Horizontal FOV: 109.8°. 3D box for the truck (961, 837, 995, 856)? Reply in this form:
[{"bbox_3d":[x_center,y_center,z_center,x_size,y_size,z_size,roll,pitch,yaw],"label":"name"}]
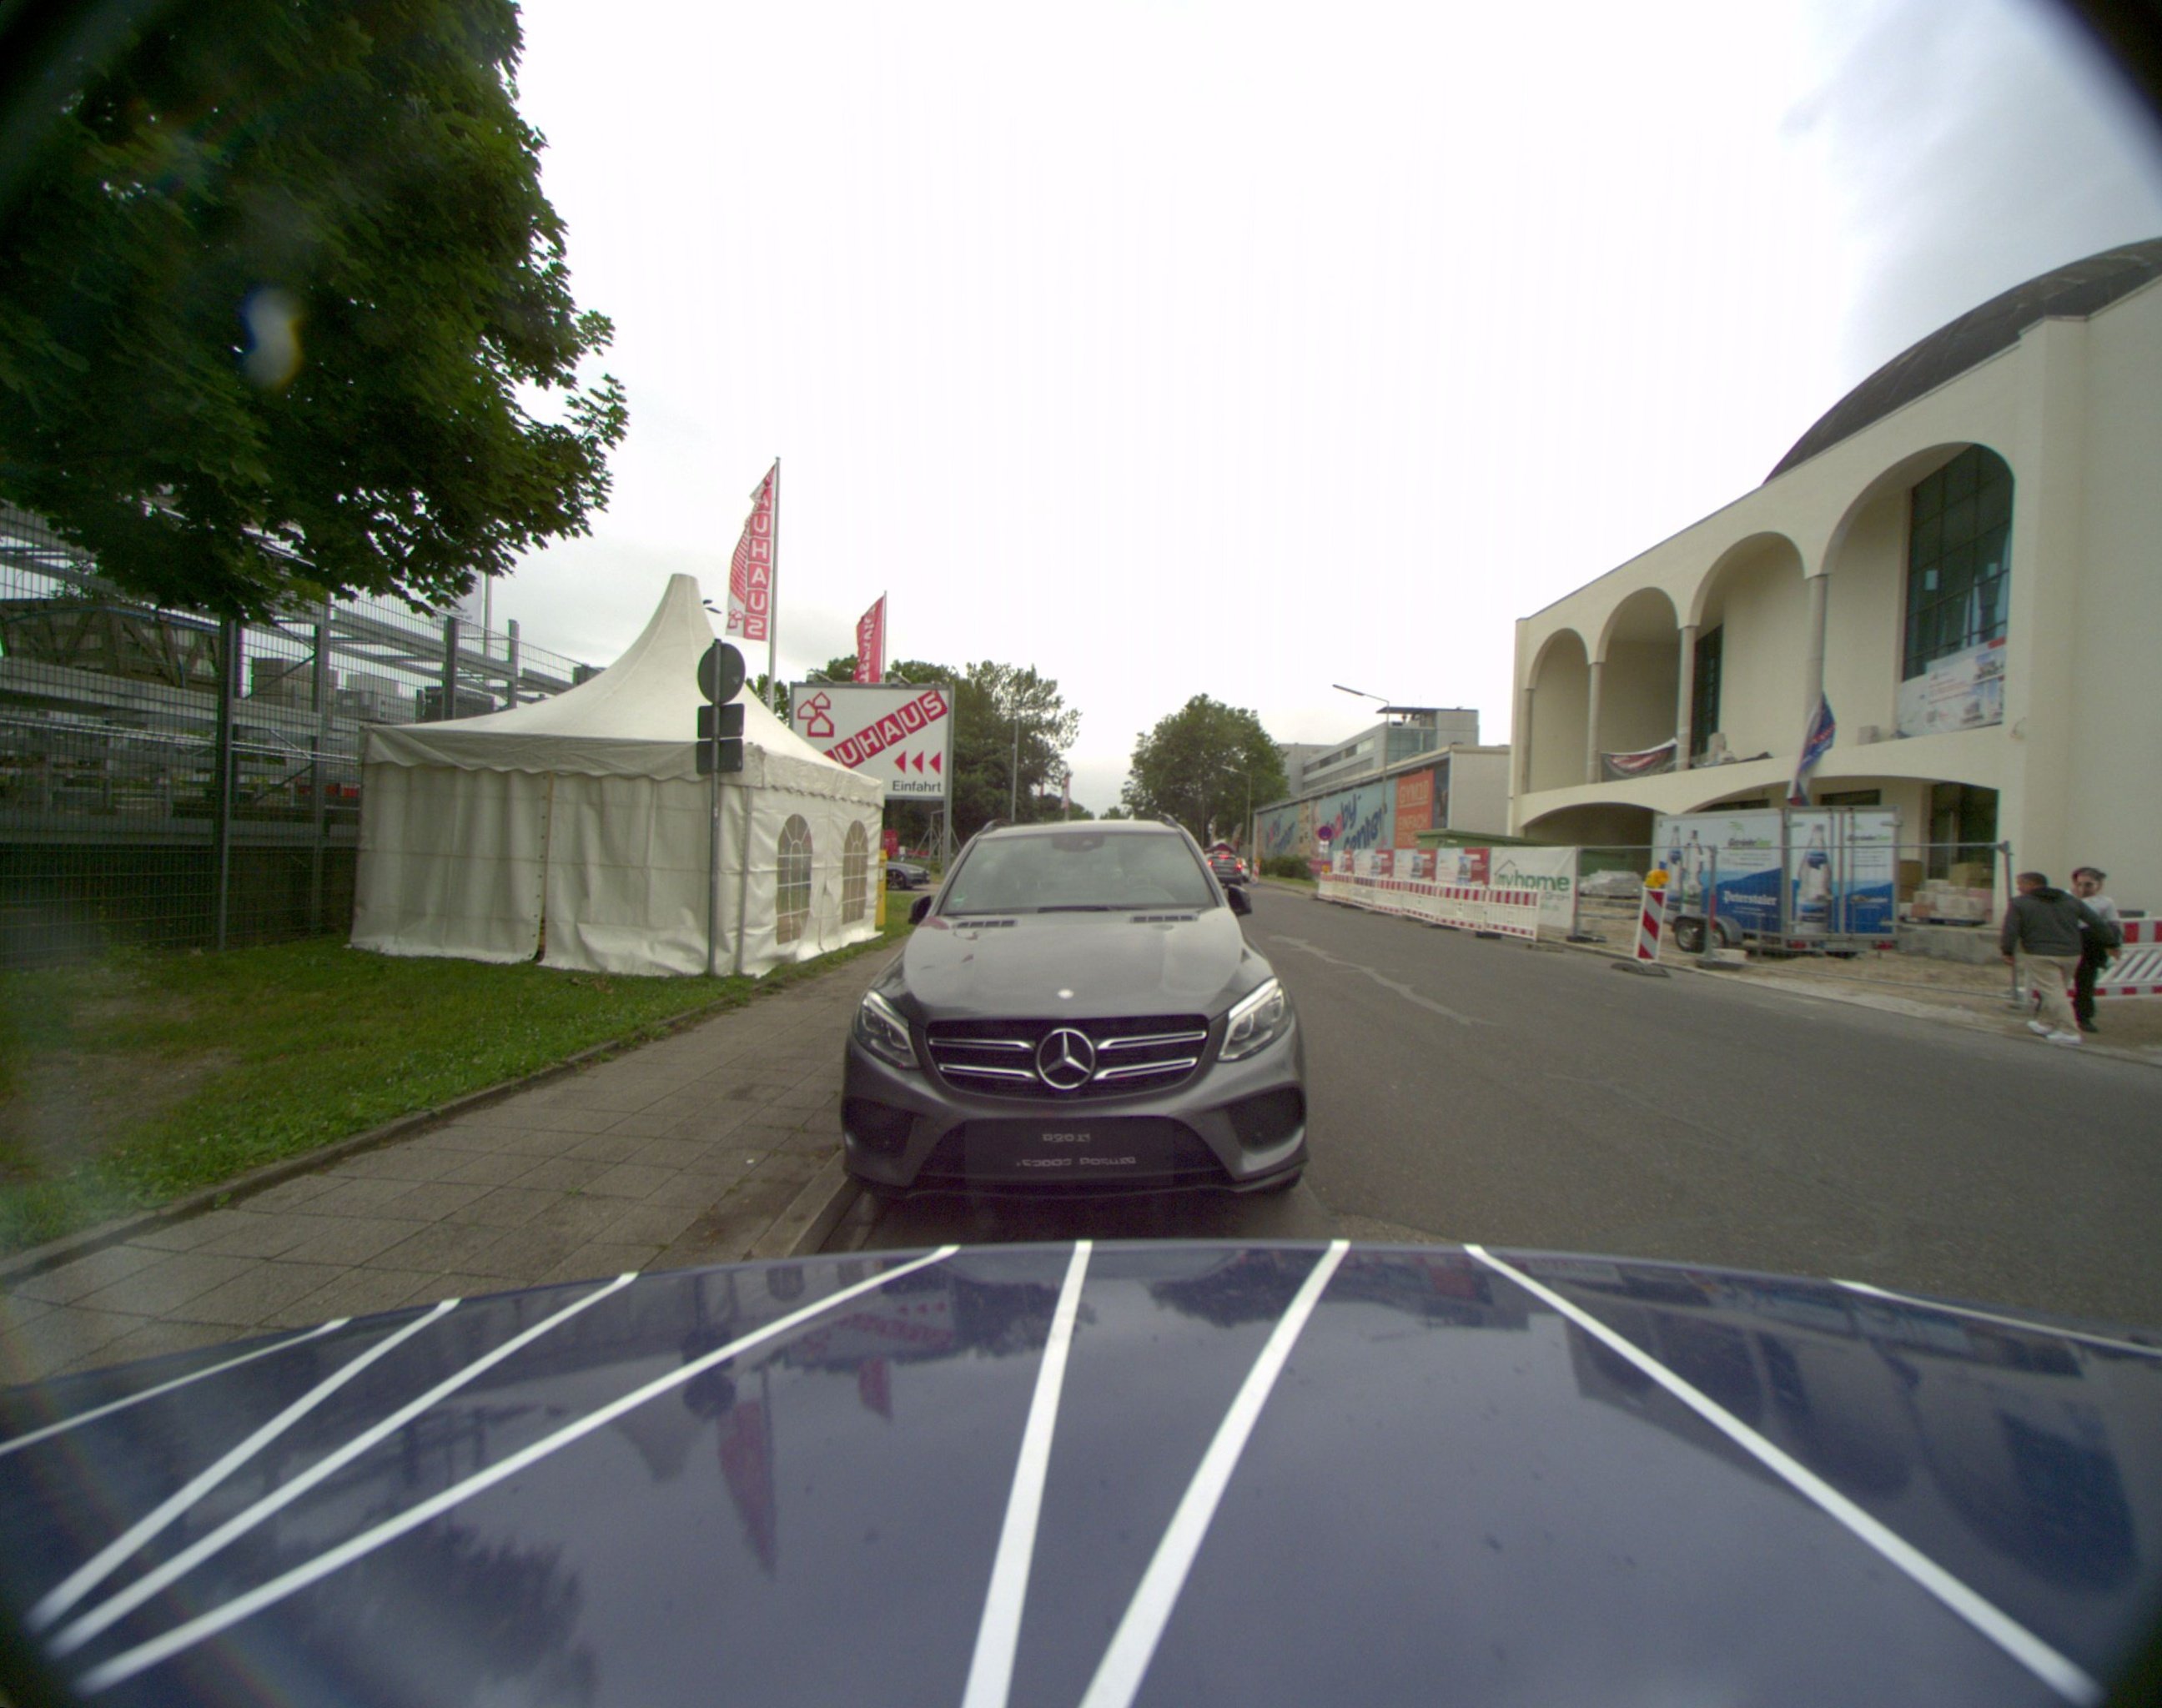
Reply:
[{"bbox_3d":[-13.546,-0.993,99.932,1.994,2.383,4.009,3,1,42],"label":"truck"}]

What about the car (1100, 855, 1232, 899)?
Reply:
[{"bbox_3d":[3.130,0.795,27.745,4.503,1.420,1.934,0,2,-32],"label":"car"}]

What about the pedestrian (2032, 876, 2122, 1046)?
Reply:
[{"bbox_3d":[10.693,1.114,8.170,0.492,1.738,0.527,0,-2,-38],"label":"pedestrian"}]

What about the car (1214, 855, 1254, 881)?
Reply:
[{"bbox_3d":[9.931,0.874,49.543,1.928,1.565,4.150,2,1,3],"label":"car"}]

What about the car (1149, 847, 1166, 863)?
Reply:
[{"bbox_3d":[9.904,0.109,98.629,1.931,2.002,4.956,2,1,3],"label":"car"}]

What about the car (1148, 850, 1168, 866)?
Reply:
[{"bbox_3d":[7.955,0.422,79.047,1.733,1.562,3.947,2,1,2],"label":"car"}]

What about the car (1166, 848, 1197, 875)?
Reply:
[{"bbox_3d":[7.140,0.509,54.211,1.694,1.751,4.134,2,1,1],"label":"car"}]

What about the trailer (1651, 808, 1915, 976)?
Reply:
[{"bbox_3d":[12.299,0.585,13.622,1.802,2.592,3.192,2,1,5],"label":"trailer"}]

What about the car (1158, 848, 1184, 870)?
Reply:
[{"bbox_3d":[8.147,0.412,69.184,1.799,1.797,4.383,3,1,1],"label":"car"}]

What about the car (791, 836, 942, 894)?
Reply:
[{"bbox_3d":[-7.238,0.354,25.913,4.491,1.674,1.940,3,1,2],"label":"car"}]

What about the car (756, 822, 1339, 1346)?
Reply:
[{"bbox_3d":[-0.017,0.765,4.775,1.913,1.731,4.480,-1,0,3],"label":"car"}]

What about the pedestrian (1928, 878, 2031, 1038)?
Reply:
[{"bbox_3d":[10.267,1.148,8.690,0.492,1.738,0.690,0,-2,-38],"label":"pedestrian"}]

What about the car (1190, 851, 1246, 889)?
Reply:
[{"bbox_3d":[6.692,0.723,37.521,1.938,1.674,4.495,3,1,1],"label":"car"}]

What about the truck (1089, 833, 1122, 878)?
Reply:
[{"bbox_3d":[1.521,0.062,47.133,1.852,2.597,4.000,2,1,2],"label":"truck"}]

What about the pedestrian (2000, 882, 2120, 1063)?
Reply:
[{"bbox_3d":[9.994,1.163,7.776,0.492,1.738,0.690,0,-2,-38],"label":"pedestrian"}]
